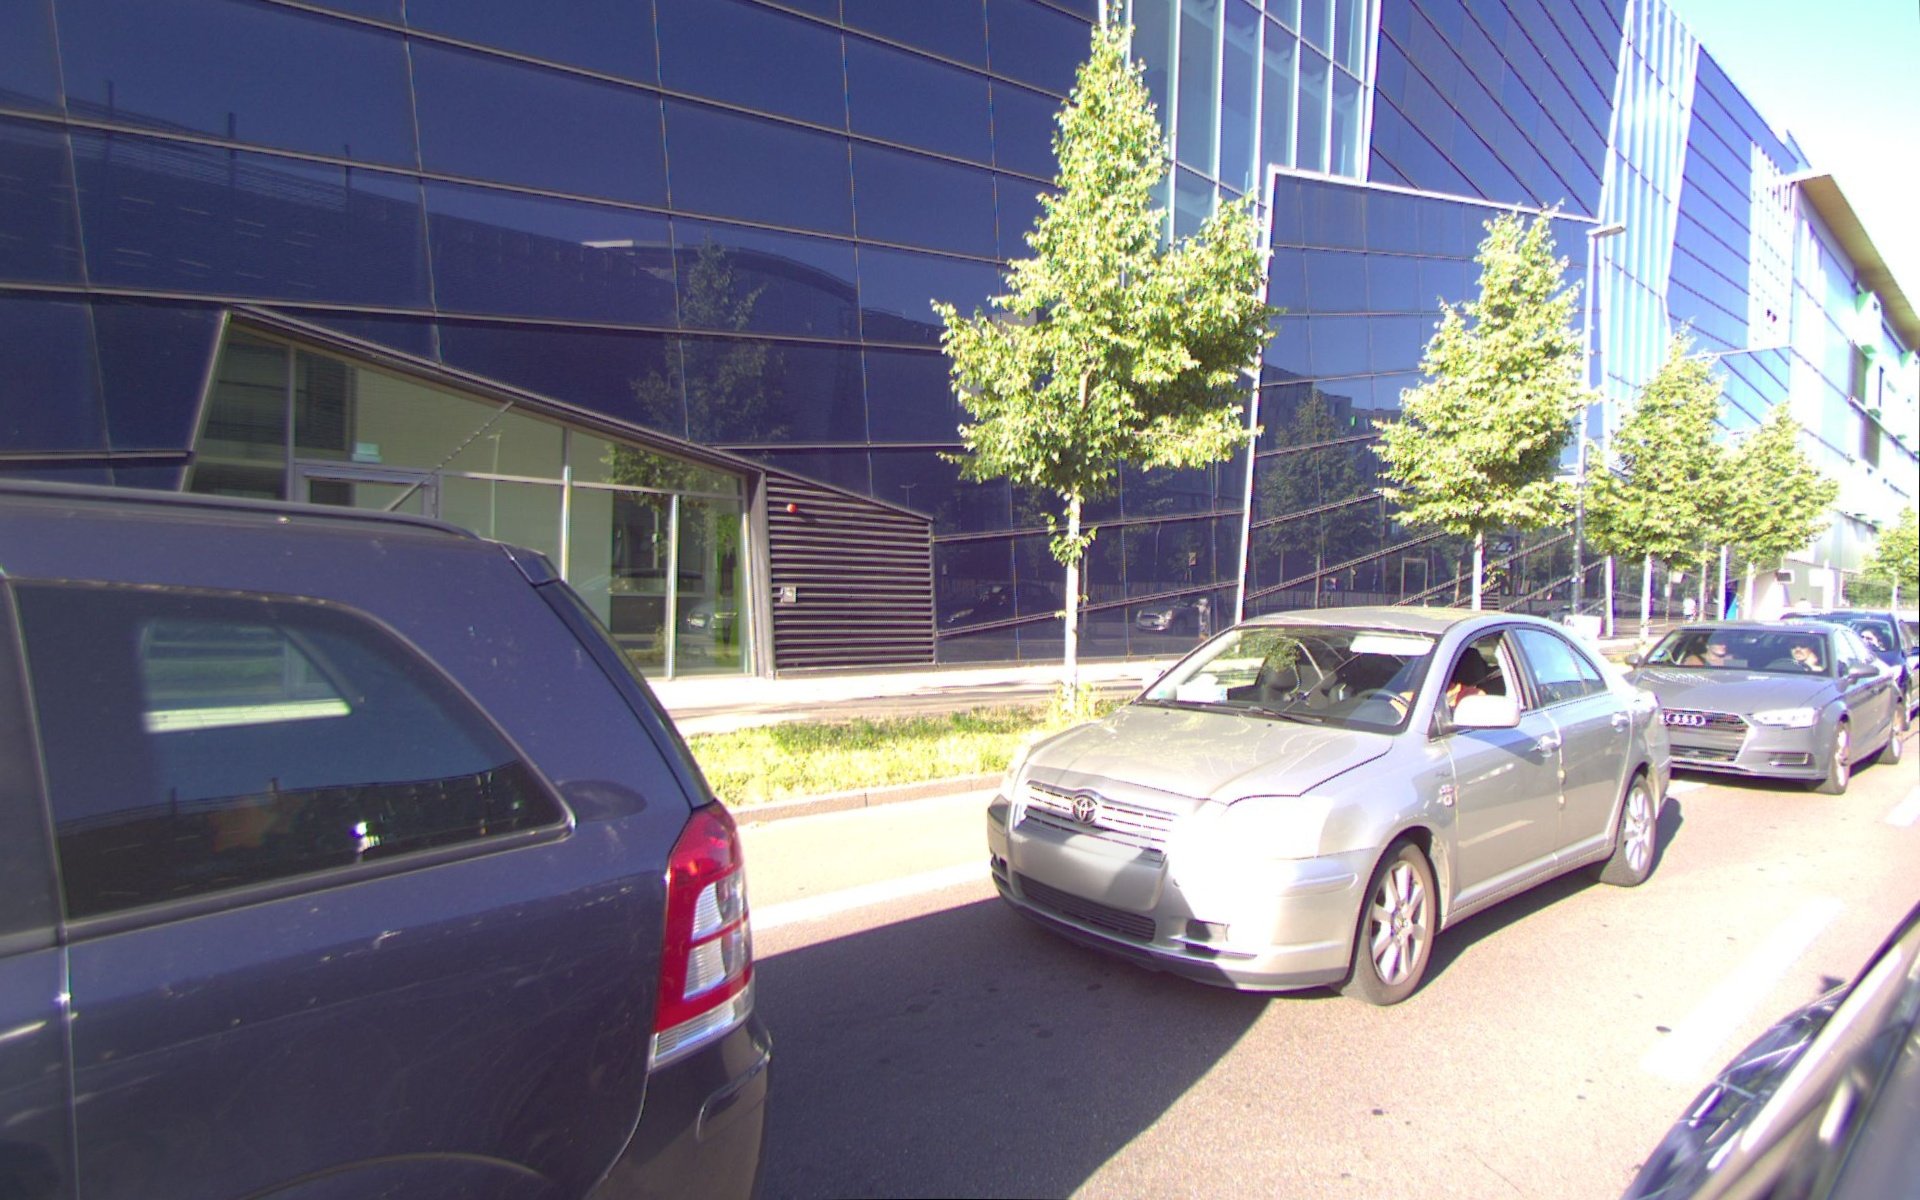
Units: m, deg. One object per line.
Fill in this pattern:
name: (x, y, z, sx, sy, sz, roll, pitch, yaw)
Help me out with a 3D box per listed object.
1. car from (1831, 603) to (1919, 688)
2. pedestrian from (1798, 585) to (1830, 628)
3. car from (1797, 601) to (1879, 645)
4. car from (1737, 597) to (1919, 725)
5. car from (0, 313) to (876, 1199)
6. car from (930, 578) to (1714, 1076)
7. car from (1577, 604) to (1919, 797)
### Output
car: (18.140, 0.831, 19.400, 3.358, 1.497, 1.752, 1, 0, -41)
pedestrian: (38.263, 0.298, 45.334, 0.889, 1.846, 0.829, 1, 4, -41)
car: (34.176, 0.853, 39.348, 4.633, 1.516, 1.739, 1, 3, -41)
car: (12.281, 0.734, 13.965, 3.902, 1.497, 1.752, 1, 0, -41)
car: (-2.285, 0.578, 1.002, 4.186, 1.717, 1.749, 0, 0, -41)
car: (2.171, 0.675, 5.228, 4.546, 1.500, 1.750, 0, 2, -40)
car: (7.634, 0.759, 9.599, 4.187, 1.409, 1.750, 0, 1, -39)
